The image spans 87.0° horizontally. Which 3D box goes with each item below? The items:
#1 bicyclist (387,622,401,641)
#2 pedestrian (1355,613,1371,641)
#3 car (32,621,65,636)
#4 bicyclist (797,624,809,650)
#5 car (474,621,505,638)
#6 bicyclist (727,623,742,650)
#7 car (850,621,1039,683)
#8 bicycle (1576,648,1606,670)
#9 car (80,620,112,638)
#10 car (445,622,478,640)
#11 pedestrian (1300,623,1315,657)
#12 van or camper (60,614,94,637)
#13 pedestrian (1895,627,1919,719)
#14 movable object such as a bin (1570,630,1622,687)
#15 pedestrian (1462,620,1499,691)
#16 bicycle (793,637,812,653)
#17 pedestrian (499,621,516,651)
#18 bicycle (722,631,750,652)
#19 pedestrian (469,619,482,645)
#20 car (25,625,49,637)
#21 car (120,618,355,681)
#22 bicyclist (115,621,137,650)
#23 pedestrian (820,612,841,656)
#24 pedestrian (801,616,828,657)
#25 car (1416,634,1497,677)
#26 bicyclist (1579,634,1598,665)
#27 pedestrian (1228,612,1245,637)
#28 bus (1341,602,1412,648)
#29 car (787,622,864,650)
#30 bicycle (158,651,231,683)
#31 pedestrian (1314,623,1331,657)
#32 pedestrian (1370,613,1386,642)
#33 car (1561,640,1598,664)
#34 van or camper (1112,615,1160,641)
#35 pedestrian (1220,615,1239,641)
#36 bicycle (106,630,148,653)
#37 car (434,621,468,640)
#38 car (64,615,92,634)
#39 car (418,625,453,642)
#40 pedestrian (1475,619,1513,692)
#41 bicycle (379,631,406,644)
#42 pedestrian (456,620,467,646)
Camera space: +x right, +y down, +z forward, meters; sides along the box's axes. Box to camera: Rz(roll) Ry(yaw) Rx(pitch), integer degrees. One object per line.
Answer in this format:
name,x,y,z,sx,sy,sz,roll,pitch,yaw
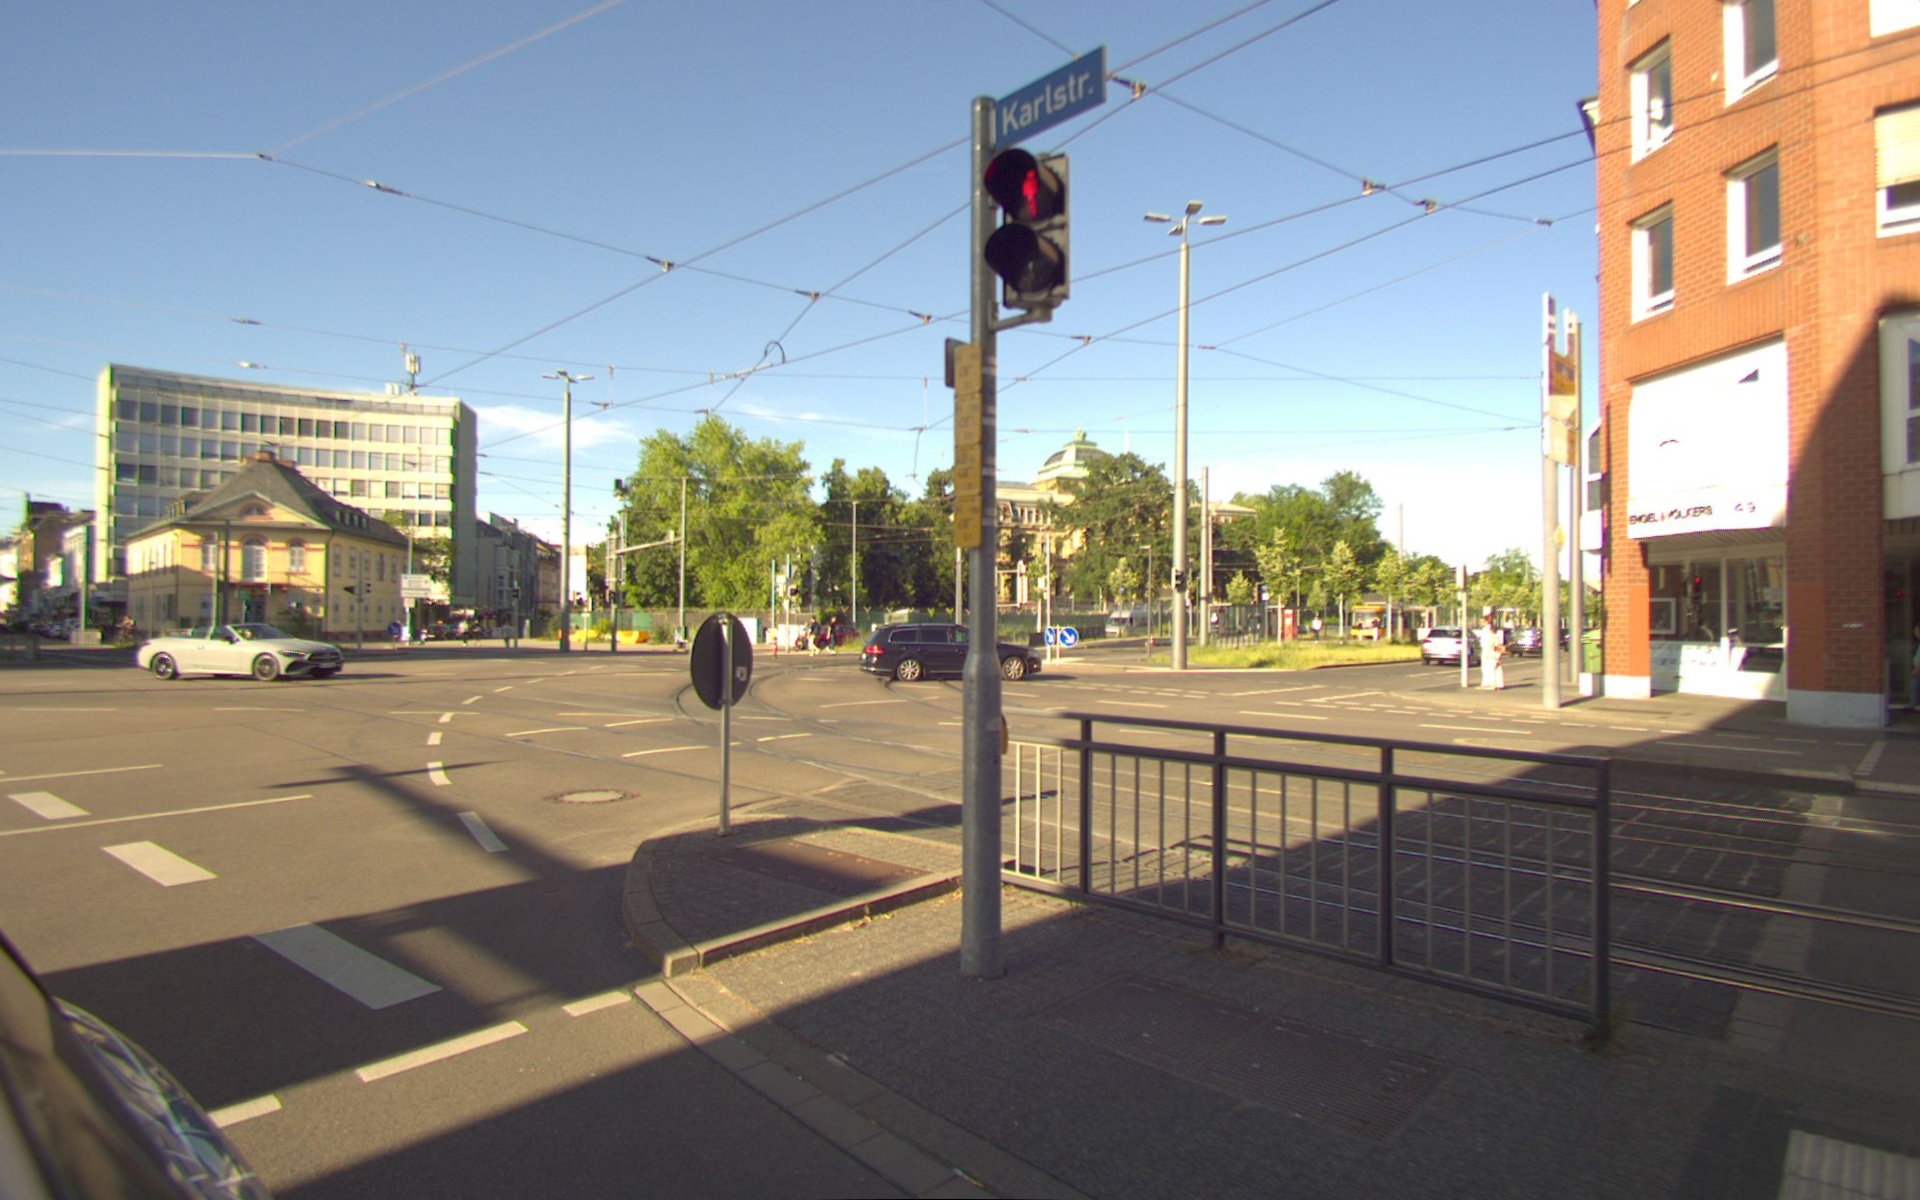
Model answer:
bicyclist,-45.176,2.491,80.753,0.660,1.465,0.726,0,-1,19
pedestrian,29.247,1.973,73.507,0.921,2.025,1.001,-1,-2,30
car,-92.993,2.899,103.227,4.290,1.463,1.906,-1,0,40
bicyclist,-8.096,1.891,52.276,0.398,1.326,0.455,-1,-2,30
car,-47.018,2.950,101.191,1.774,1.683,3.761,0,-1,-7
bicyclist,-12.665,2.050,56.845,0.609,1.504,0.608,-1,-2,39
car,-0.422,1.285,25.503,4.453,1.455,1.775,0,-2,-13
bicycle,37.018,3.447,59.407,2.006,1.232,0.630,1,-2,-31
car,-74.218,2.469,86.894,3.963,1.450,1.757,-1,0,45
car,-47.267,2.889,96.061,1.773,1.683,3.764,0,-1,-10
pedestrian,21.318,2.445,62.088,0.799,2.025,0.800,-1,-2,28
van or camper,-82.646,2.375,94.702,4.797,1.988,1.933,-1,0,43
pedestrian,16.880,1.255,17.387,0.872,1.580,0.866,0,-1,-18
movable object such as a bin,16.939,1.540,26.964,1.094,1.447,0.987,-1,-2,36
pedestrian,13.049,1.365,25.370,0.710,1.740,0.681,-1,-2,37
bicycle,-8.125,2.320,52.235,0.319,0.769,1.164,-1,-1,29
pedestrian,-26.087,2.081,58.315,0.704,1.701,0.619,-3,-3,33
bicycle,-12.575,2.341,56.929,0.611,1.142,1.480,-1,-2,39
pedestrian,-34.118,2.249,71.222,0.695,1.865,0.742,1,-2,-34
car,-109.519,3.635,120.078,3.597,1.427,1.762,-1,-2,42
car,-17.687,1.174,24.874,4.718,1.450,1.866,0,-1,8
bicyclist,-49.578,2.095,60.141,0.584,1.661,0.803,1,0,12
pedestrian,-5.823,1.525,45.560,0.712,1.948,0.801,1,-1,-24
pedestrian,-6.216,1.555,43.143,0.929,1.723,0.688,-1,-2,39
car,20.507,2.259,41.739,3.432,1.647,1.847,1,-2,-42
bicyclist,36.878,2.906,59.366,0.816,1.785,0.616,1,-2,-31
pedestrian,21.807,1.933,79.802,0.909,2.025,0.899,1,-2,-36
bus,34.861,2.053,84.427,2.948,3.591,9.304,-1,-2,39
car,-7.679,2.072,58.069,1.779,1.521,4.509,-1,-3,35
bicycle,-23.227,2.029,30.730,0.521,0.907,1.692,-1,-2,41
pedestrian,22.100,2.415,61.717,0.799,2.025,0.799,-1,-2,30
pedestrian,30.146,1.969,73.017,0.921,2.025,1.001,-1,-2,30
car,43.740,3.657,71.418,1.730,1.563,3.426,-1,-2,41
van or camper,13.943,2.182,80.007,1.978,2.016,4.300,-1,-2,38
pedestrian,20.812,2.158,78.119,1.086,2.029,1.002,-1,-2,38
bicycle,-49.554,2.457,60.208,0.569,1.301,2.019,0,-1,11
car,-45.764,2.763,91.073,1.862,1.683,3.874,0,-1,-13
car,-78.854,2.153,90.442,1.756,1.633,4.179,0,0,-43
car,-44.288,2.821,85.576,1.624,1.357,3.768,0,-1,-11
pedestrian,12.934,1.321,24.516,0.710,1.740,0.681,-1,-2,37
bicycle,-45.212,2.995,80.648,0.646,1.021,1.873,0,-1,18
pedestrian,-34.872,2.300,70.747,0.586,1.831,0.706,1,-2,-34
